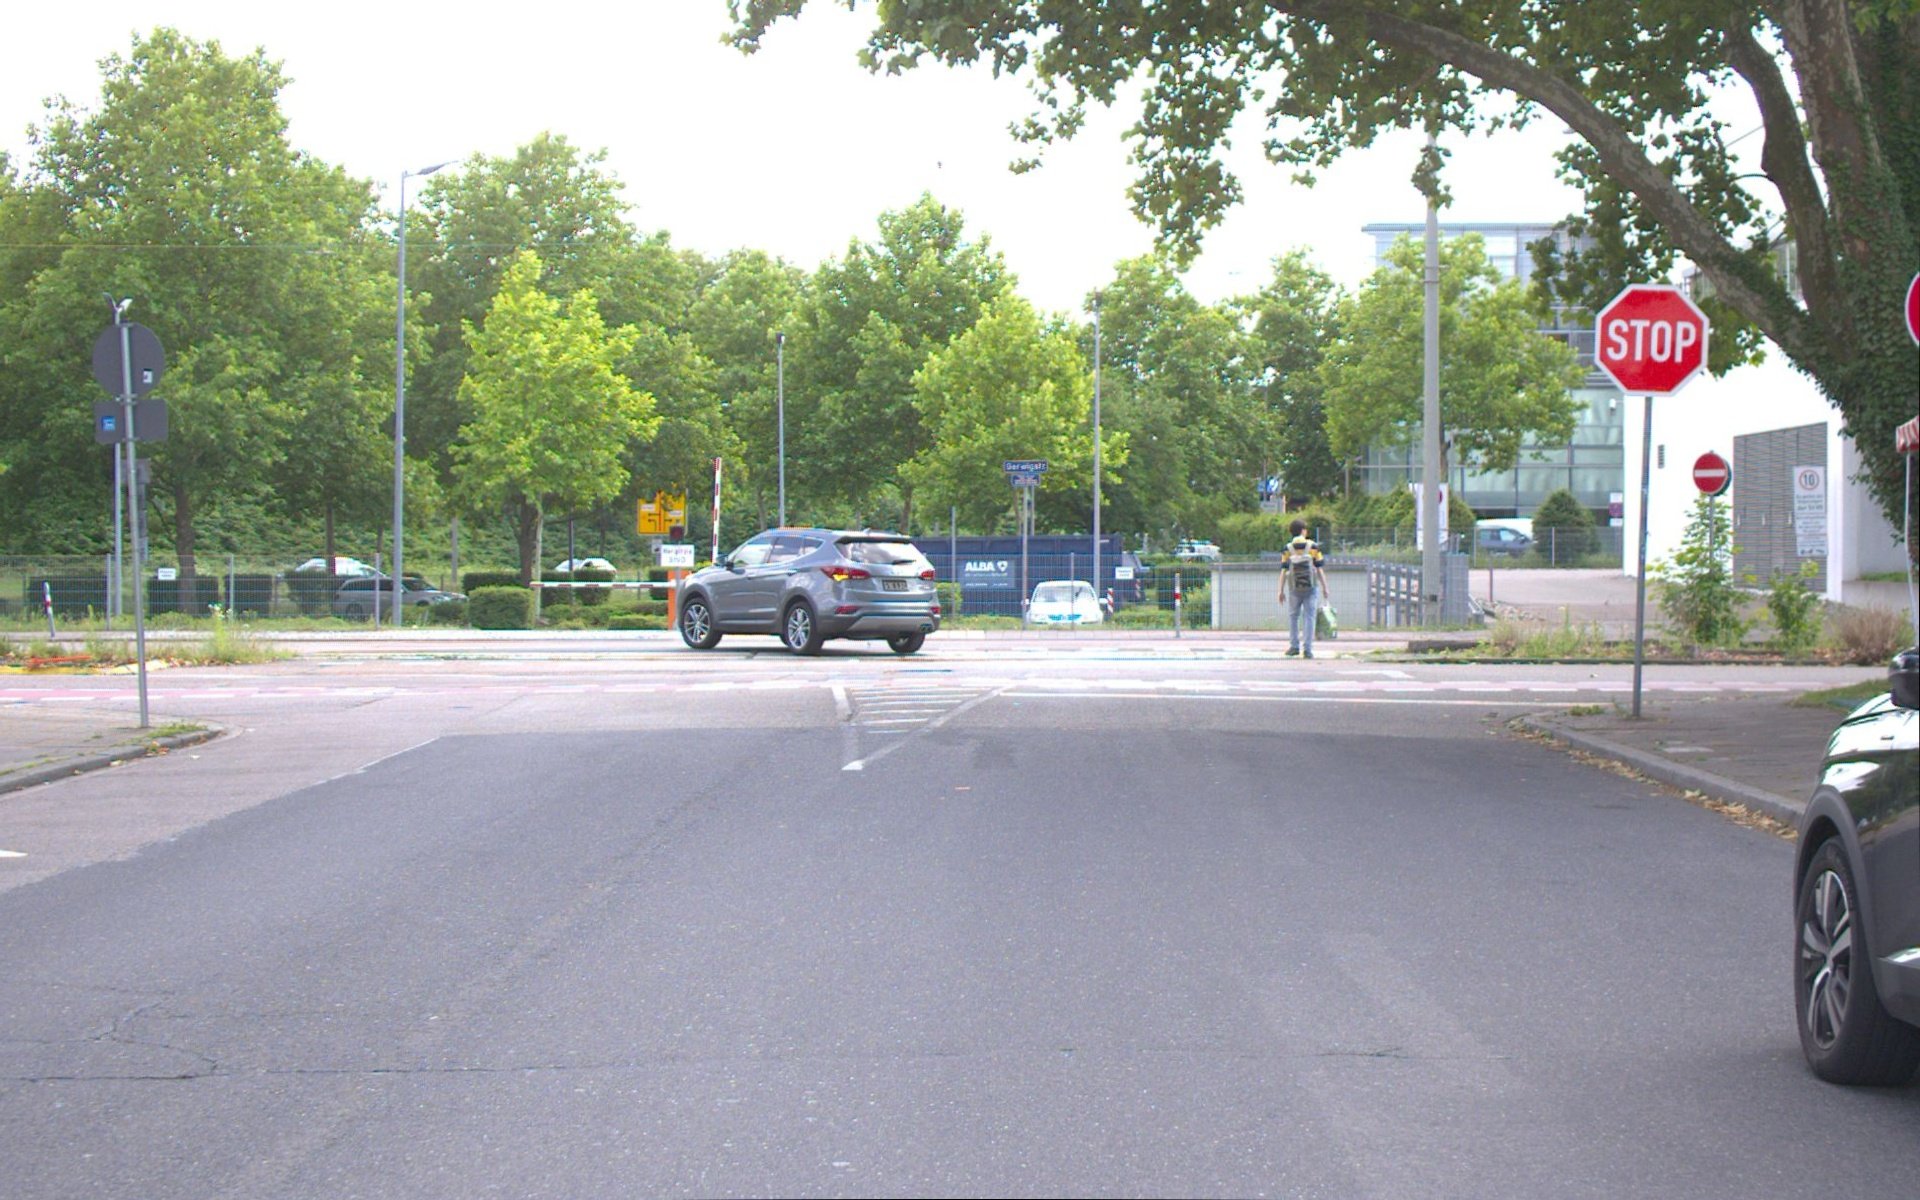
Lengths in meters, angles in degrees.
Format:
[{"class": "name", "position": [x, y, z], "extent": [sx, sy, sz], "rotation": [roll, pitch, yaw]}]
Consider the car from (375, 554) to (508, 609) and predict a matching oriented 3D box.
[{"class": "car", "position": [-16.703, -0.611, 110.695], "extent": [3.994, 1.696, 1.906], "rotation": [1, 1, 33]}]

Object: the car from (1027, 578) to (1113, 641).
[{"class": "car", "position": [2.555, 0.204, 79.384], "extent": [1.931, 1.398, 4.080], "rotation": [0, 1, 2]}]

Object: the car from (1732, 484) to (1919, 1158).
[{"class": "car", "position": [3.299, 0.590, 8.144], "extent": [1.808, 1.659, 4.640], "rotation": [3, 1, 0]}]

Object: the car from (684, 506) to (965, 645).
[{"class": "car", "position": [-1.916, -0.373, 47.284], "extent": [1.962, 1.809, 4.275], "rotation": [-1, 1, -33]}]

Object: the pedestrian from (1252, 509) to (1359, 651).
[{"class": "pedestrian", "position": [4.543, -0.269, 45.319], "extent": [1.000, 1.843, 1.230], "rotation": [0, 1, -17]}]
